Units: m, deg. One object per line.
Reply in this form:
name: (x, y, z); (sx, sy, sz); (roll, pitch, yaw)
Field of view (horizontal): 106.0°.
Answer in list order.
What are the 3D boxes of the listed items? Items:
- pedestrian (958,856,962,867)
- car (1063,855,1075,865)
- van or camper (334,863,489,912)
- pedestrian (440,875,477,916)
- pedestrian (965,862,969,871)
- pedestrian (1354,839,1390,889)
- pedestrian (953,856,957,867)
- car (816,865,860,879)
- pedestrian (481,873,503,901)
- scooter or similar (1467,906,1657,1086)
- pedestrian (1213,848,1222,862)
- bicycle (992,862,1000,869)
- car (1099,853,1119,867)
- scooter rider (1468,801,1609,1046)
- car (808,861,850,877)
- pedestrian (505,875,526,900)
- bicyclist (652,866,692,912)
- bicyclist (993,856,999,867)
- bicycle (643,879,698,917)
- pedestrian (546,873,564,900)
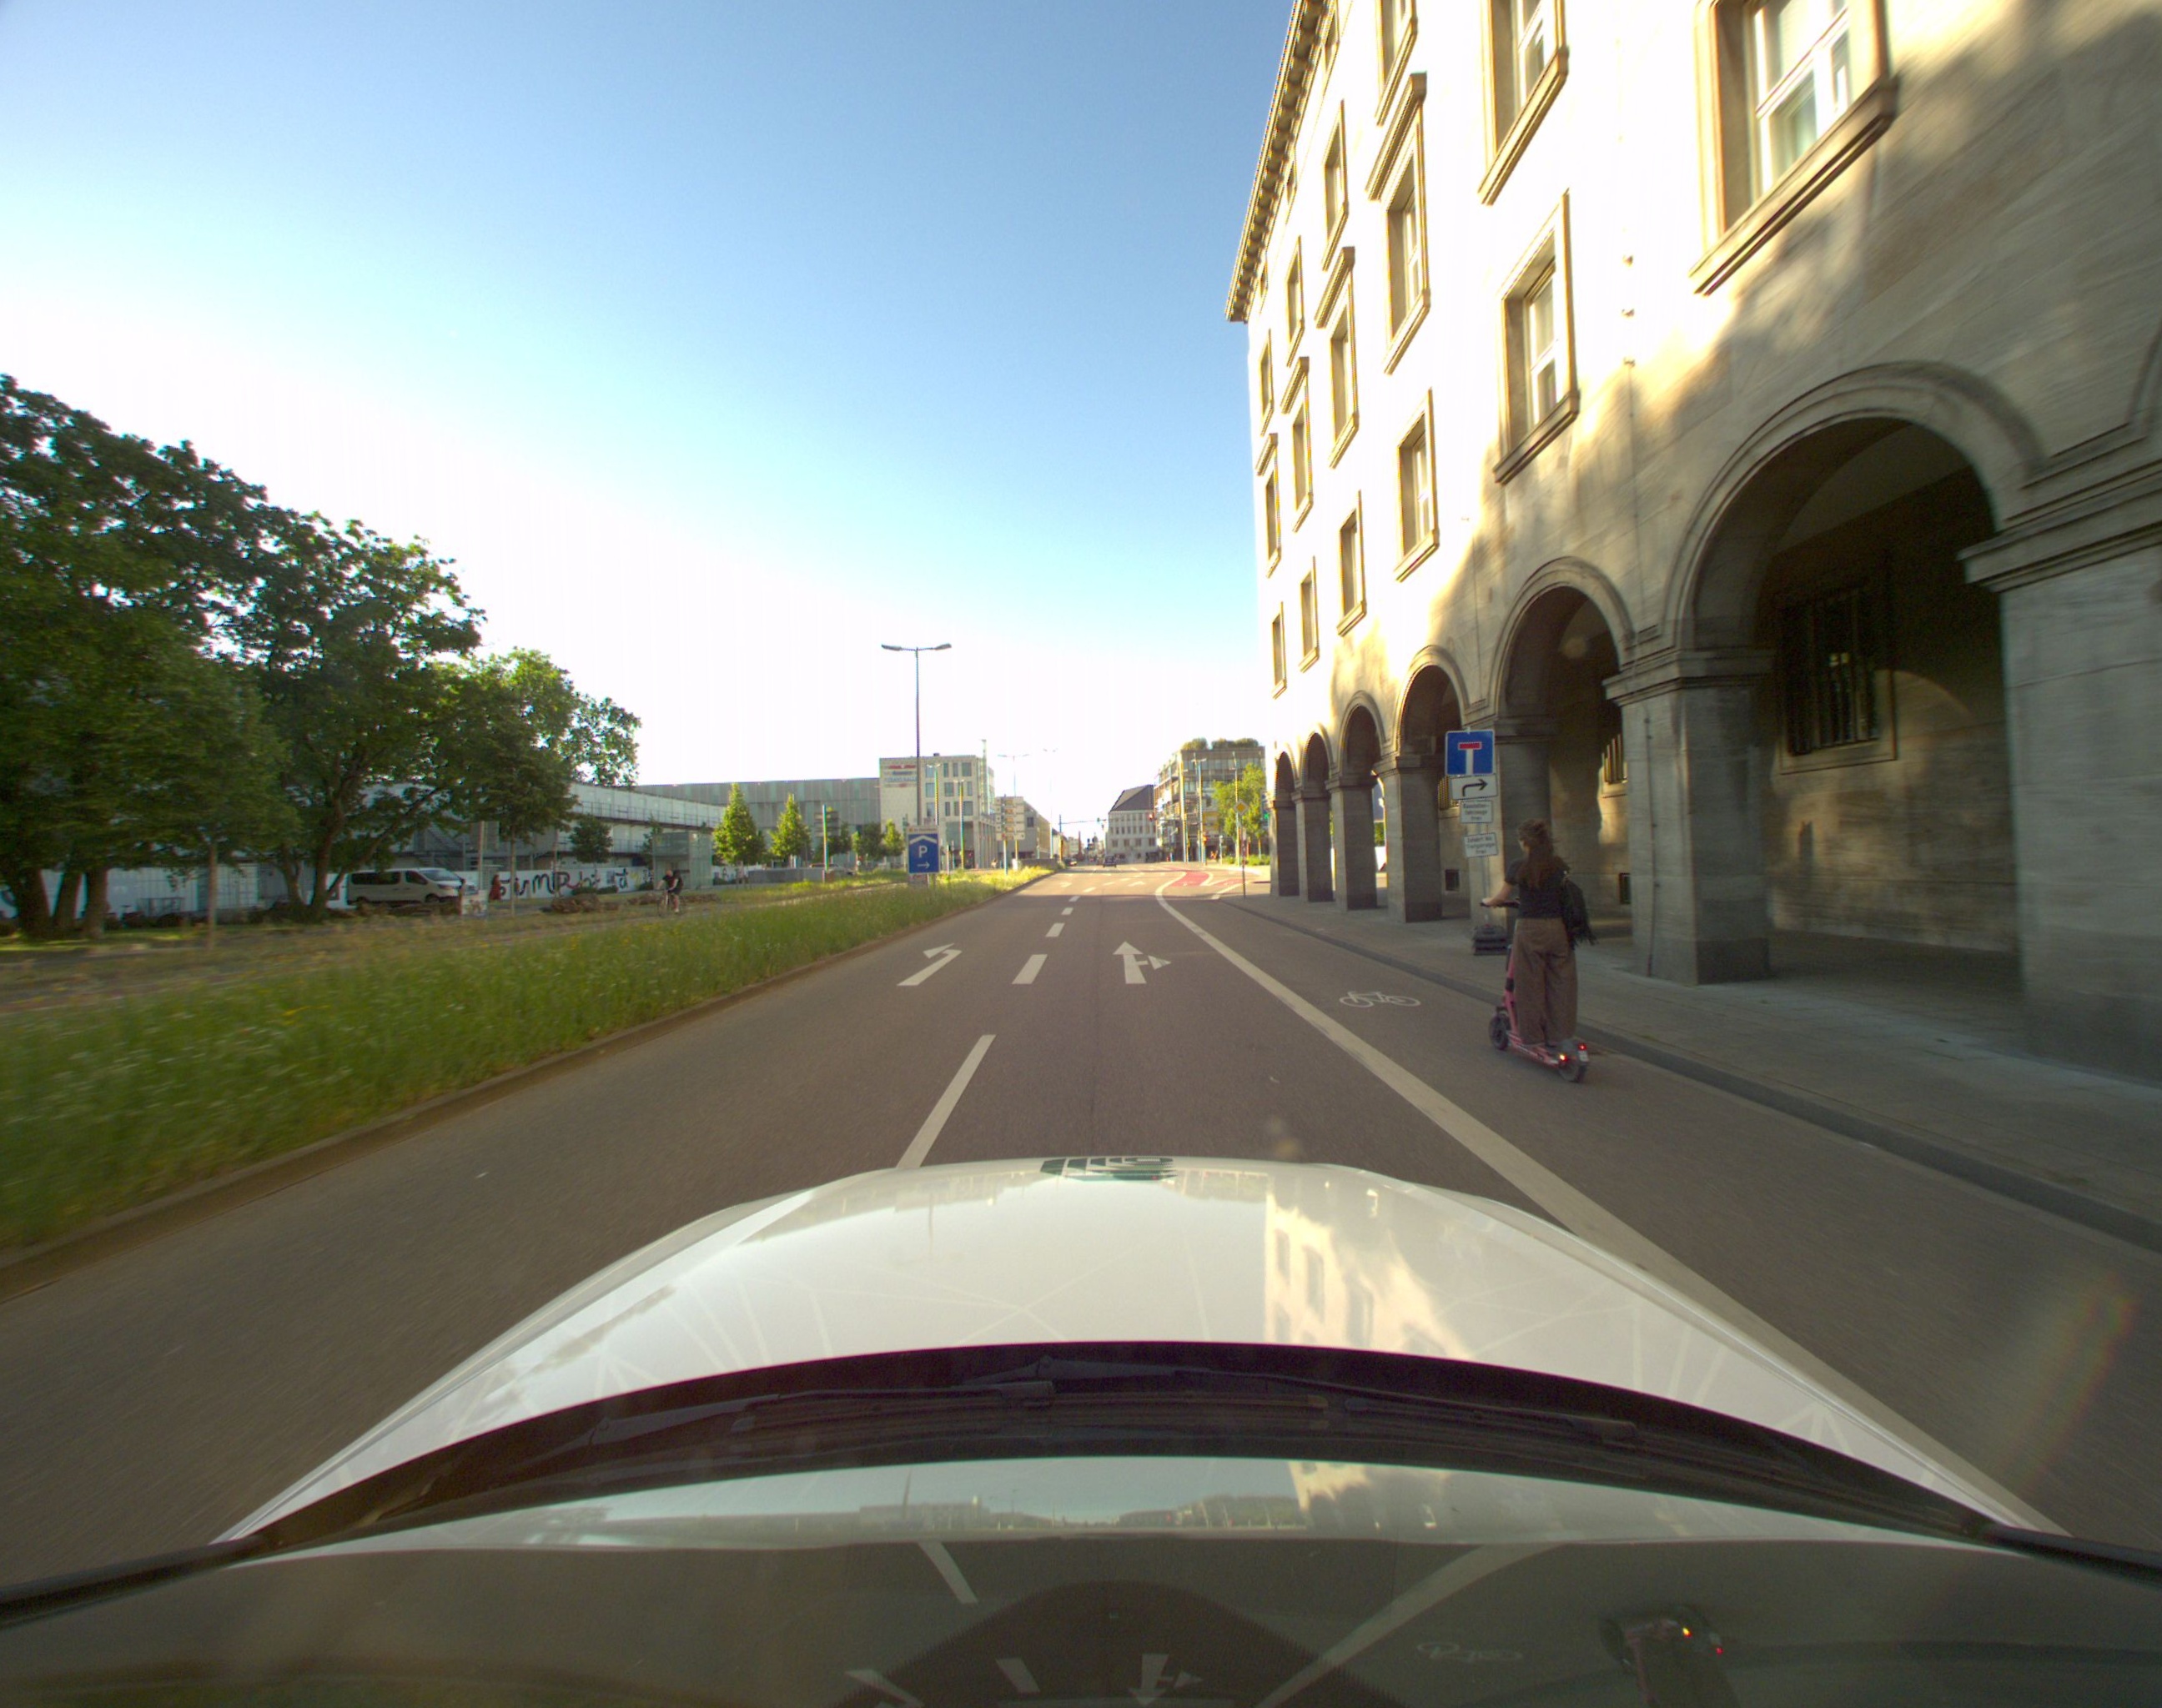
pedestrian: (-21.784, 1.377, 146.516); (0.622, 2.013, 0.515); (-2, 0, -7)
car: (-2.329, 1.178, 157.919); (1.986, 1.742, 4.648); (-2, 1, 2)
van or camper: (-32.199, 1.609, 39.285); (5.640, 2.014, 2.259); (-3, -2, 2)
pedestrian: (-24.683, 1.633, 32.300); (0.609, 1.527, 0.944); (-2, 0, 7)
pedestrian: (-20.306, 2.154, 144.884); (0.620, 1.608, 0.653); (-2, 0, 1)
pedestrian: (9.419, 0.318, 26.397); (0.774, 1.569, 0.952); (-2, 0, 0)
pedestrian: (-22.650, 1.346, 145.892); (0.622, 2.013, 0.515); (-2, 0, -7)
car: (-28.934, 2.164, 97.095); (4.634, 1.375, 1.868); (-3, -2, -6)
pedestrian: (-33.769, 1.905, 46.691); (0.577, 1.558, 0.835); (-2, 0, 0)
scooter or similar: (3.277, 0.923, 5.653); (0.554, 1.031, 1.115); (-2, 0, -5)
pedestrian: (17.055, 0.145, 101.628); (0.814, 1.748, 1.047); (-3, -1, 23)
bicycle: (-11.388, 1.550, 108.747); (0.608, 0.861, 1.955); (-2, 0, 7)
car: (3.374, 0.687, 98.403); (1.774, 1.564, 3.780); (-2, 0, -7)
scooter rider: (3.253, 0.465, 5.835); (0.560, 1.632, 0.649); (-2, -1, -4)
car: (-31.366, 1.871, 101.607); (4.634, 1.810, 1.868); (-3, -2, -6)
pedestrian: (-32.691, 1.940, 47.096); (0.577, 1.378, 0.835); (-2, 0, 0)
bicyclist: (-14.697, 1.267, 29.299); (0.744, 1.590, 1.202); (-3, -2, 1)
bicyclist: (-11.389, 0.998, 108.925); (0.604, 1.489, 0.682); (-2, 0, 7)
bicycle: (-14.689, 1.556, 29.205); (0.755, 1.275, 2.259); (-3, -2, 2)
pedestrian: (-33.907, 2.065, 52.491); (0.577, 1.688, 0.835); (-2, 0, 0)
